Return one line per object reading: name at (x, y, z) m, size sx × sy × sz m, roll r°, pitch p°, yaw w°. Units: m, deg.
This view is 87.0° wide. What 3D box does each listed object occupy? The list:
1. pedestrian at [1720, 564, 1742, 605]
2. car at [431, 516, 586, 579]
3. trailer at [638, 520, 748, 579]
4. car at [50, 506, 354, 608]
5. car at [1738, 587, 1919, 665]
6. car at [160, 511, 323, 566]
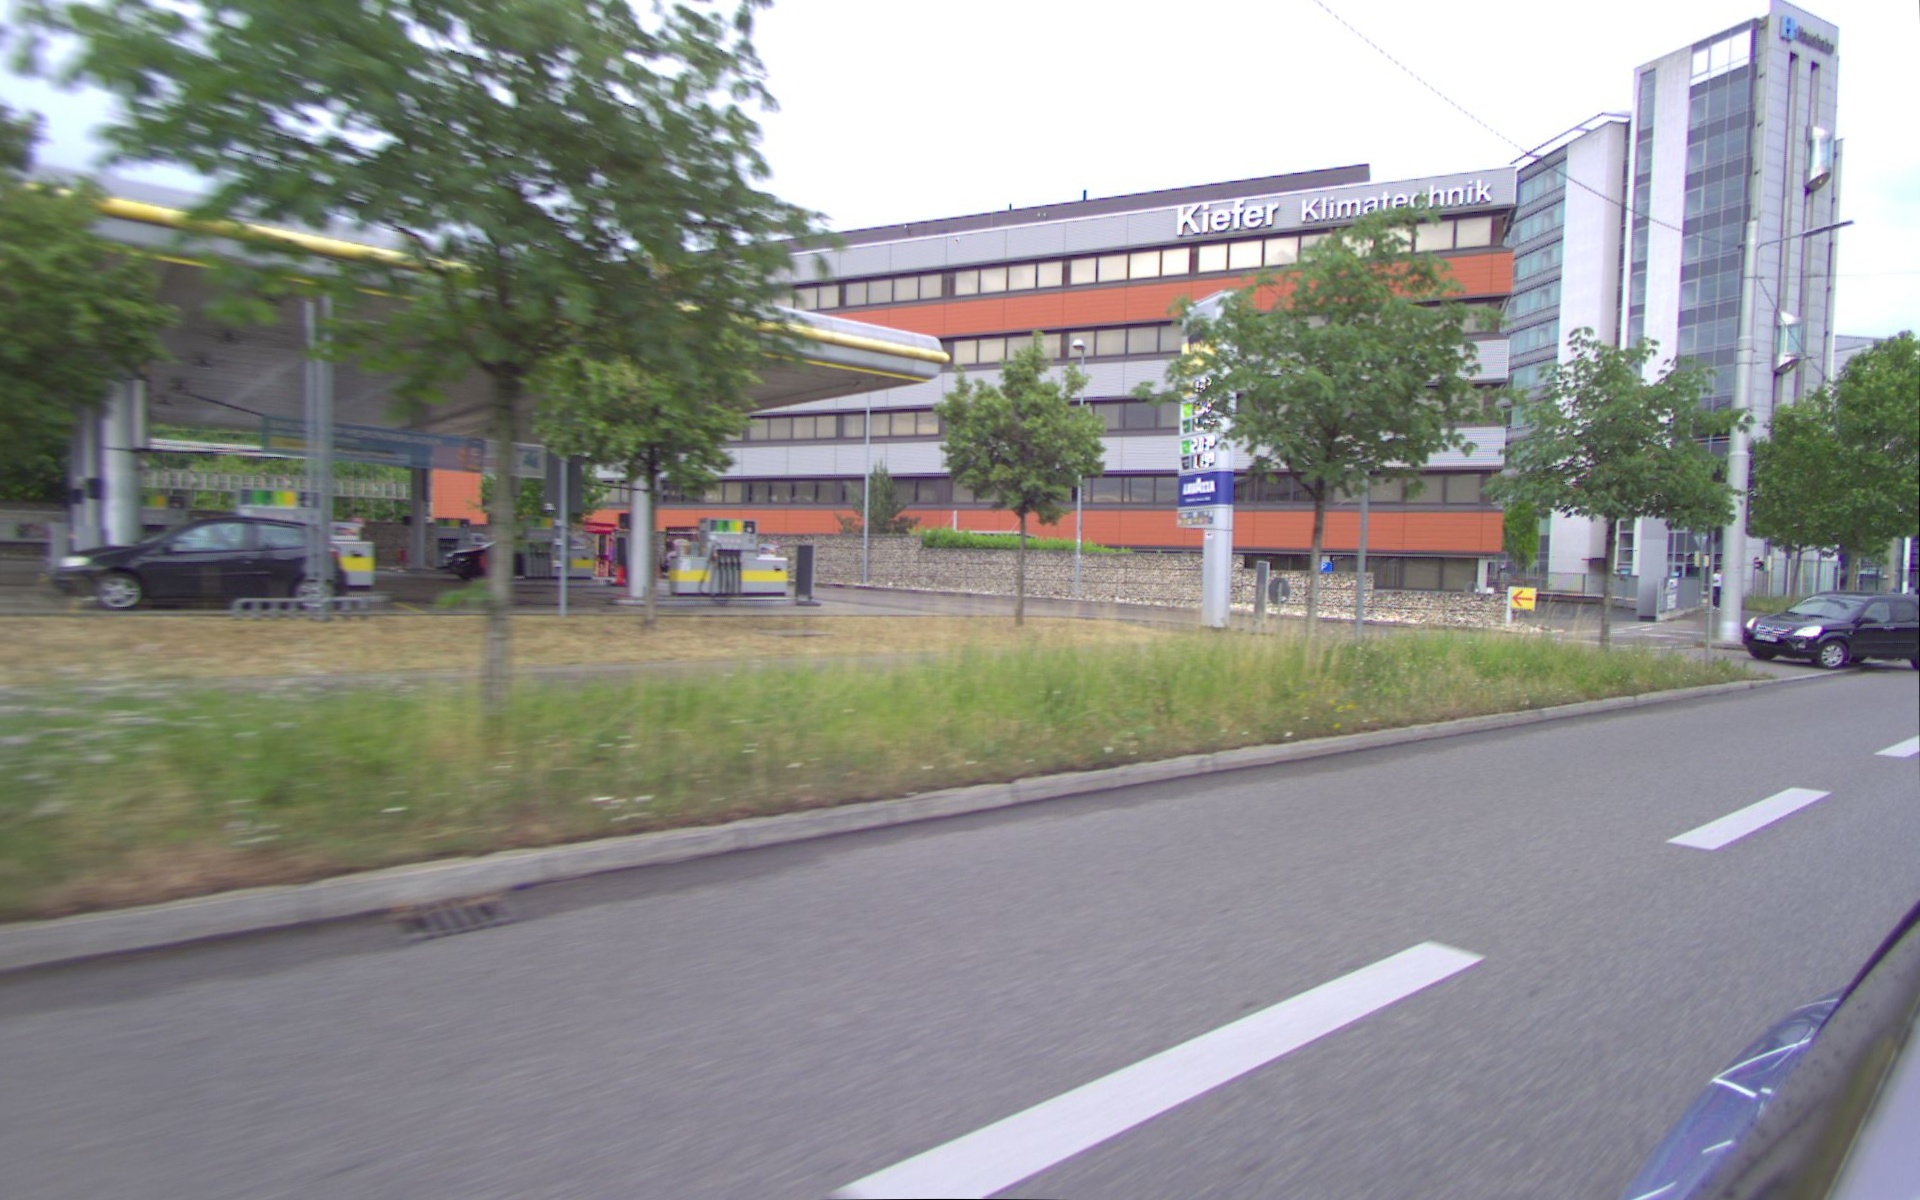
pedestrian at (35.972, -0.718, 47.236) m, size 0.675 × 1.924 × 0.672 m, roll 0°, pitch 0°, yaw 26°
car at (-13.803, -1.587, 31.013) m, size 3.930 × 1.668 × 1.903 m, roll 0°, pitch 7°, yaw -41°
trailer at (-10.601, -2.003, 40.180) m, size 3.959 × 2.172 × 1.824 m, roll 3°, pitch 2°, yaw 25°
car at (-11.990, -0.665, 16.201) m, size 3.714 × 1.436 × 1.784 m, roll 0°, pitch 4°, yaw -39°
car at (20.224, 0.544, 22.780) m, size 4.271 × 1.667 × 1.796 m, roll 0°, pitch 0°, yaw -8°
car at (-25.158, -2.113, 35.517) m, size 4.519 × 1.686 × 1.997 m, roll 0°, pitch 0°, yaw -40°
